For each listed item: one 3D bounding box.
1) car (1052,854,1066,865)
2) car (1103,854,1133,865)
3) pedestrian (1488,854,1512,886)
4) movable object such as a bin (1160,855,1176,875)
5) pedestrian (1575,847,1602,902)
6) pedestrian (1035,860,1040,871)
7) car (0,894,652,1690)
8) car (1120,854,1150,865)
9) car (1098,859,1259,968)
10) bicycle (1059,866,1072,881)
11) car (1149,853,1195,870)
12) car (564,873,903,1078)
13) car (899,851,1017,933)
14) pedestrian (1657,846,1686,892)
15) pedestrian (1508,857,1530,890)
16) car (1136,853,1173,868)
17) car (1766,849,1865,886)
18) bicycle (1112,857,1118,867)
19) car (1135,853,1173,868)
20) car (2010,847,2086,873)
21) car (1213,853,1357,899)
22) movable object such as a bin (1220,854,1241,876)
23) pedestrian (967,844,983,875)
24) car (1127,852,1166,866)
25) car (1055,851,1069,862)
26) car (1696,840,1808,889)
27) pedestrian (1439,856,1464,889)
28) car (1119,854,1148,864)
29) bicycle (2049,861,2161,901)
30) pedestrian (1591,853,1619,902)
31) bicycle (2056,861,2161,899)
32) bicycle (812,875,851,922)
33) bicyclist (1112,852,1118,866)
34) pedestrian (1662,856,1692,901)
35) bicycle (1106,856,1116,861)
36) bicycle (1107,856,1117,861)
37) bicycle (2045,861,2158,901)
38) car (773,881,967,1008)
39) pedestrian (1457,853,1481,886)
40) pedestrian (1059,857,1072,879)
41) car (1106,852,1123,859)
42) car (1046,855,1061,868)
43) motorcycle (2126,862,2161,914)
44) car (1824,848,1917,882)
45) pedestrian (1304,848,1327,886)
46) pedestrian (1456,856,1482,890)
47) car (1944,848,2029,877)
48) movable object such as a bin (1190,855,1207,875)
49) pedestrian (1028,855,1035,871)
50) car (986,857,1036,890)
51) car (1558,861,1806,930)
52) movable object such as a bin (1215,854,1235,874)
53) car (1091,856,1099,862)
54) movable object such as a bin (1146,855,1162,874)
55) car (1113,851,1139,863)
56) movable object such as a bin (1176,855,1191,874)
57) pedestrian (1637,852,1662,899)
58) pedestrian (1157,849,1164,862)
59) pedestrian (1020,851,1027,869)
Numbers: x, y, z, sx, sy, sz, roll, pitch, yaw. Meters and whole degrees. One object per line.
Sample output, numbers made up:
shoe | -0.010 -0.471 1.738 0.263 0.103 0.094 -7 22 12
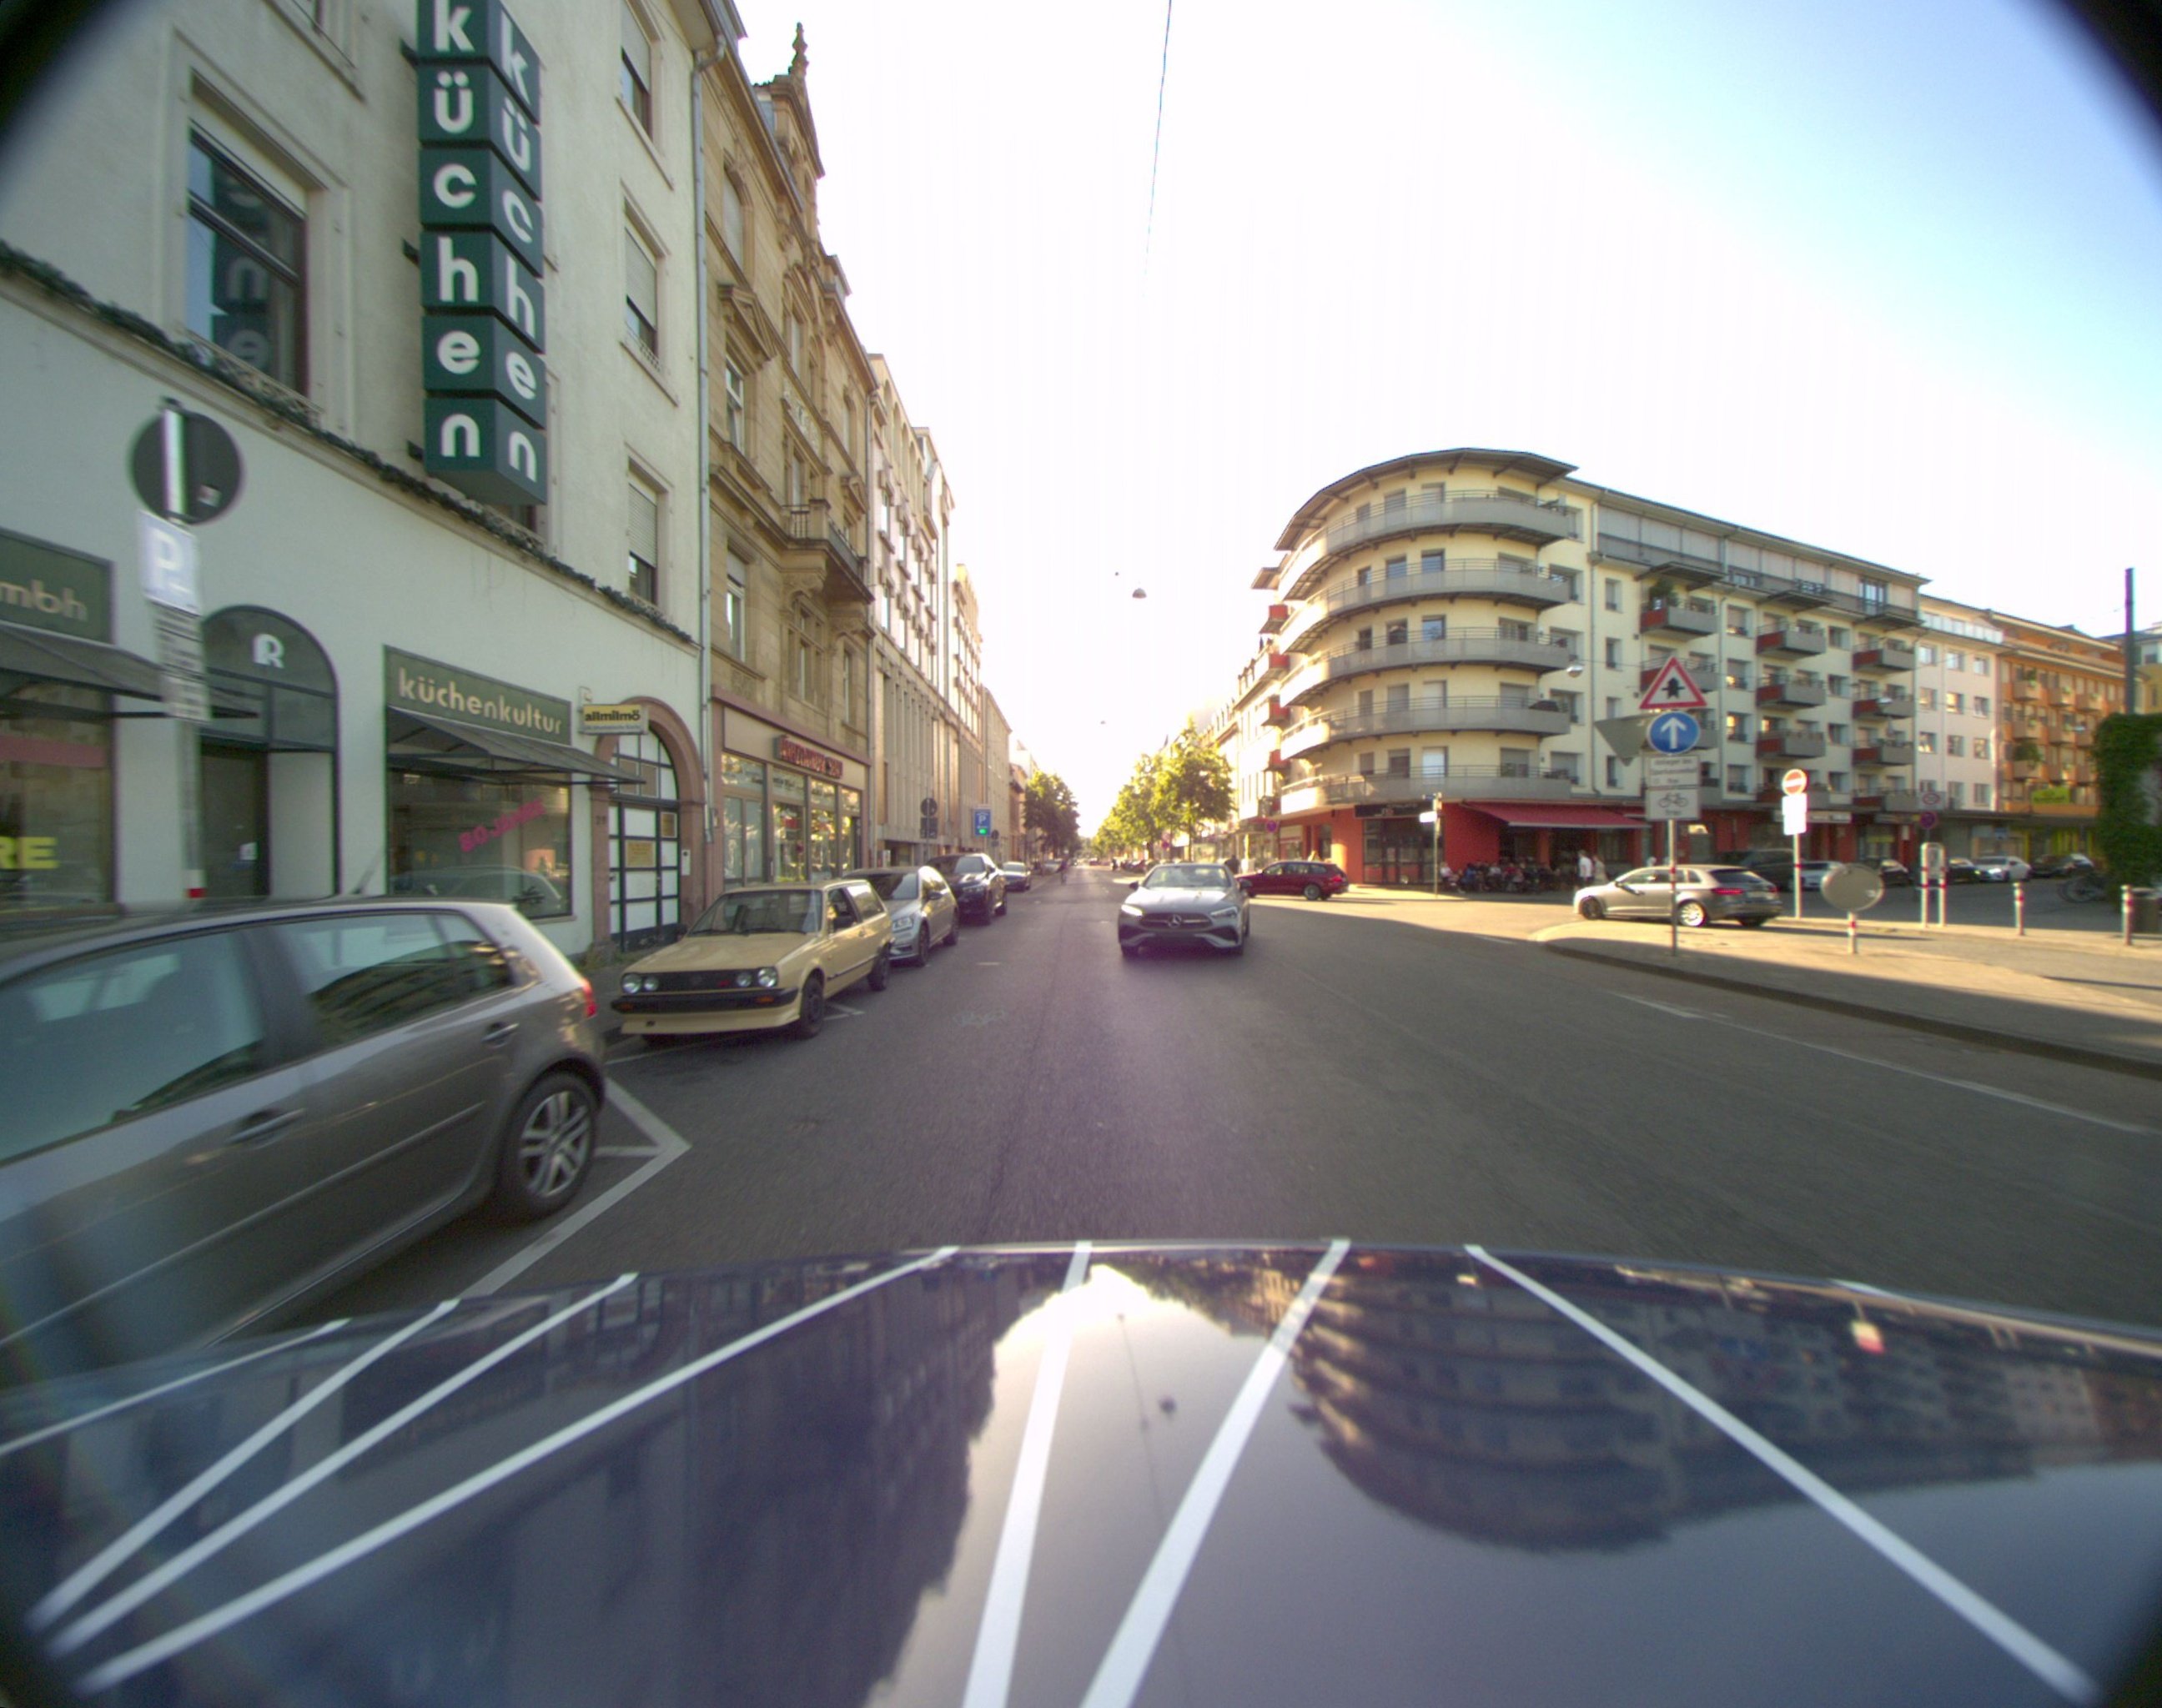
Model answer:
car | -3.100 0.726 107.222 1.888 1.518 4.233 1 0 0
car | 5.448 0.766 113.397 4.377 1.561 1.980 -1 0 1
pedestrian | 17.968 0.675 32.564 0.576 1.332 0.698 -1 0 -29
movable object such as a bin | 6.636 0.833 57.874 1.045 1.463 1.143 0 0 -1
pedestrian | 16.875 0.666 25.260 0.588 1.817 0.557 -1 1 -33
pedestrian | -4.176 1.085 73.567 0.394 1.027 0.739 2 1 -1
car | -3.191 1.002 1.851 1.843 1.537 4.228 -2 0 0
car | 7.258 0.738 102.760 3.790 1.450 1.780 -1 0 -3
car | 1.902 0.829 13.006 1.996 1.414 5.124 1 0 16
bicycle | -0.987 1.244 49.017 0.805 0.958 1.996 -2 -1 -1
car | 8.706 0.720 73.092 4.213 1.459 1.740 -2 0 2
car | -3.123 0.986 7.760 1.612 1.441 3.830 -2 0 1
car | -2.887 0.838 19.037 1.978 1.715 4.824 -2 0 2
pedestrian | 19.842 0.509 25.525 0.543 1.526 0.685 -1 1 -41
pedestrian | 18.038 0.795 31.282 0.698 1.332 0.576 0 1 37
car | 7.995 0.702 82.907 3.850 1.420 1.790 -2 0 2
car | 34.524 0.611 35.714 4.188 1.650 1.907 0 0 -24
bicycle | 4.110 0.962 92.233 0.707 1.140 1.968 0 0 3
car | 7.693 0.703 80.381 3.757 1.459 1.739 -2 0 0
car | 59.625 0.354 46.851 4.188 1.564 1.907 0 0 -24
car | 7.395 0.754 27.699 4.722 1.506 1.925 1 0 29
movable object such as a bin | 9.729 0.731 49.526 1.045 1.396 1.314 0 0 -1
pedestrian | -5.646 0.285 40.361 0.693 1.626 0.889 1 0 0
car | 7.909 0.626 91.926 4.505 1.450 1.790 -2 0 -2
car | -2.963 0.369 120.366 1.999 1.680 4.516 2 0 0
car | 29.554 0.437 33.483 4.357 2.037 2.031 0 0 -24
pedestrian | 15.105 0.734 30.992 0.576 1.332 0.698 -1 0 -29
car | 8.028 0.755 116.666 4.377 1.561 1.946 -1 0 1
bicycle | 30.848 0.794 22.916 0.507 1.125 1.961 -1 0 -28
pedestrian | 17.563 0.765 25.459 0.617 1.603 0.581 -1 1 -33
bicycle | 31.953 0.783 23.620 0.507 1.125 1.961 -1 0 -28
bicycle | -6.378 1.112 19.485 0.359 1.078 1.941 1 0 0
bicyclist | 4.091 0.587 91.941 0.698 1.643 1.036 0 0 2
pedestrian | 20.426 0.833 26.028 0.576 1.526 0.698 -1 1 -41
bicycle | 6.713 1.058 169.573 2.006 1.023 0.473 -2 1 -13
bicycle | 6.894 1.013 168.659 2.006 1.023 0.473 -2 1 -13
bicycle | 30.341 0.786 22.635 0.507 1.125 1.961 -1 0 -28
car | -3.111 1.273 12.164 1.843 1.478 4.184 -2 0 1
pedestrian | 16.167 0.650 31.684 0.576 1.332 0.698 -1 0 -29
pedestrian | -0.992 0.924 49.003 0.804 1.381 0.931 -2 0 -1
car | 8.250 0.429 188.040 4.135 1.670 2.000 -1 0 -1
car | -3.224 0.849 88.673 1.618 1.520 3.060 1 0 -1
motorcycle | 26.108 0.801 17.939 1.690 1.201 0.507 0 0 21
car | 39.666 0.536 38.173 4.188 1.650 1.907 0 0 -24
pedestrian | 10.368 0.569 33.609 0.666 1.649 1.036 -1 0 0
pedestrian | 15.485 0.757 30.323 0.576 1.332 0.698 -1 0 -29
car | 49.976 0.463 41.937 4.188 1.564 1.907 0 0 -24
movable object such as a bin | 8.952 0.844 57.928 1.045 1.463 1.143 0 0 -1
pedestrian | -4.788 0.858 73.447 0.582 1.550 1.020 2 1 -1
car | -3.463 0.952 38.532 1.922 1.470 4.964 3 0 1
car | 13.936 0.912 18.041 1.754 1.414 4.535 -1 -1 -12
movable object such as a bin | 9.634 0.673 50.948 1.045 1.337 1.314 0 0 -1
car | 3.288 1.140 176.750 1.662 1.526 3.760 1 0 1
movable object such as a bin | 5.586 0.811 58.070 1.045 1.463 1.452 0 0 -1
car | 7.458 0.489 125.721 4.116 1.825 2.038 -2 0 1
movable object such as a bin | 7.806 0.805 57.890 0.966 1.463 1.143 -1 1 -1
pedestrian | 18.981 0.712 25.358 0.543 1.526 0.551 -1 1 -41
pedestrian | 11.303 0.221 108.399 0.776 1.756 0.763 -5 1 -2
pedestrian | -5.753 0.590 75.845 0.624 1.755 0.771 1 1 1
